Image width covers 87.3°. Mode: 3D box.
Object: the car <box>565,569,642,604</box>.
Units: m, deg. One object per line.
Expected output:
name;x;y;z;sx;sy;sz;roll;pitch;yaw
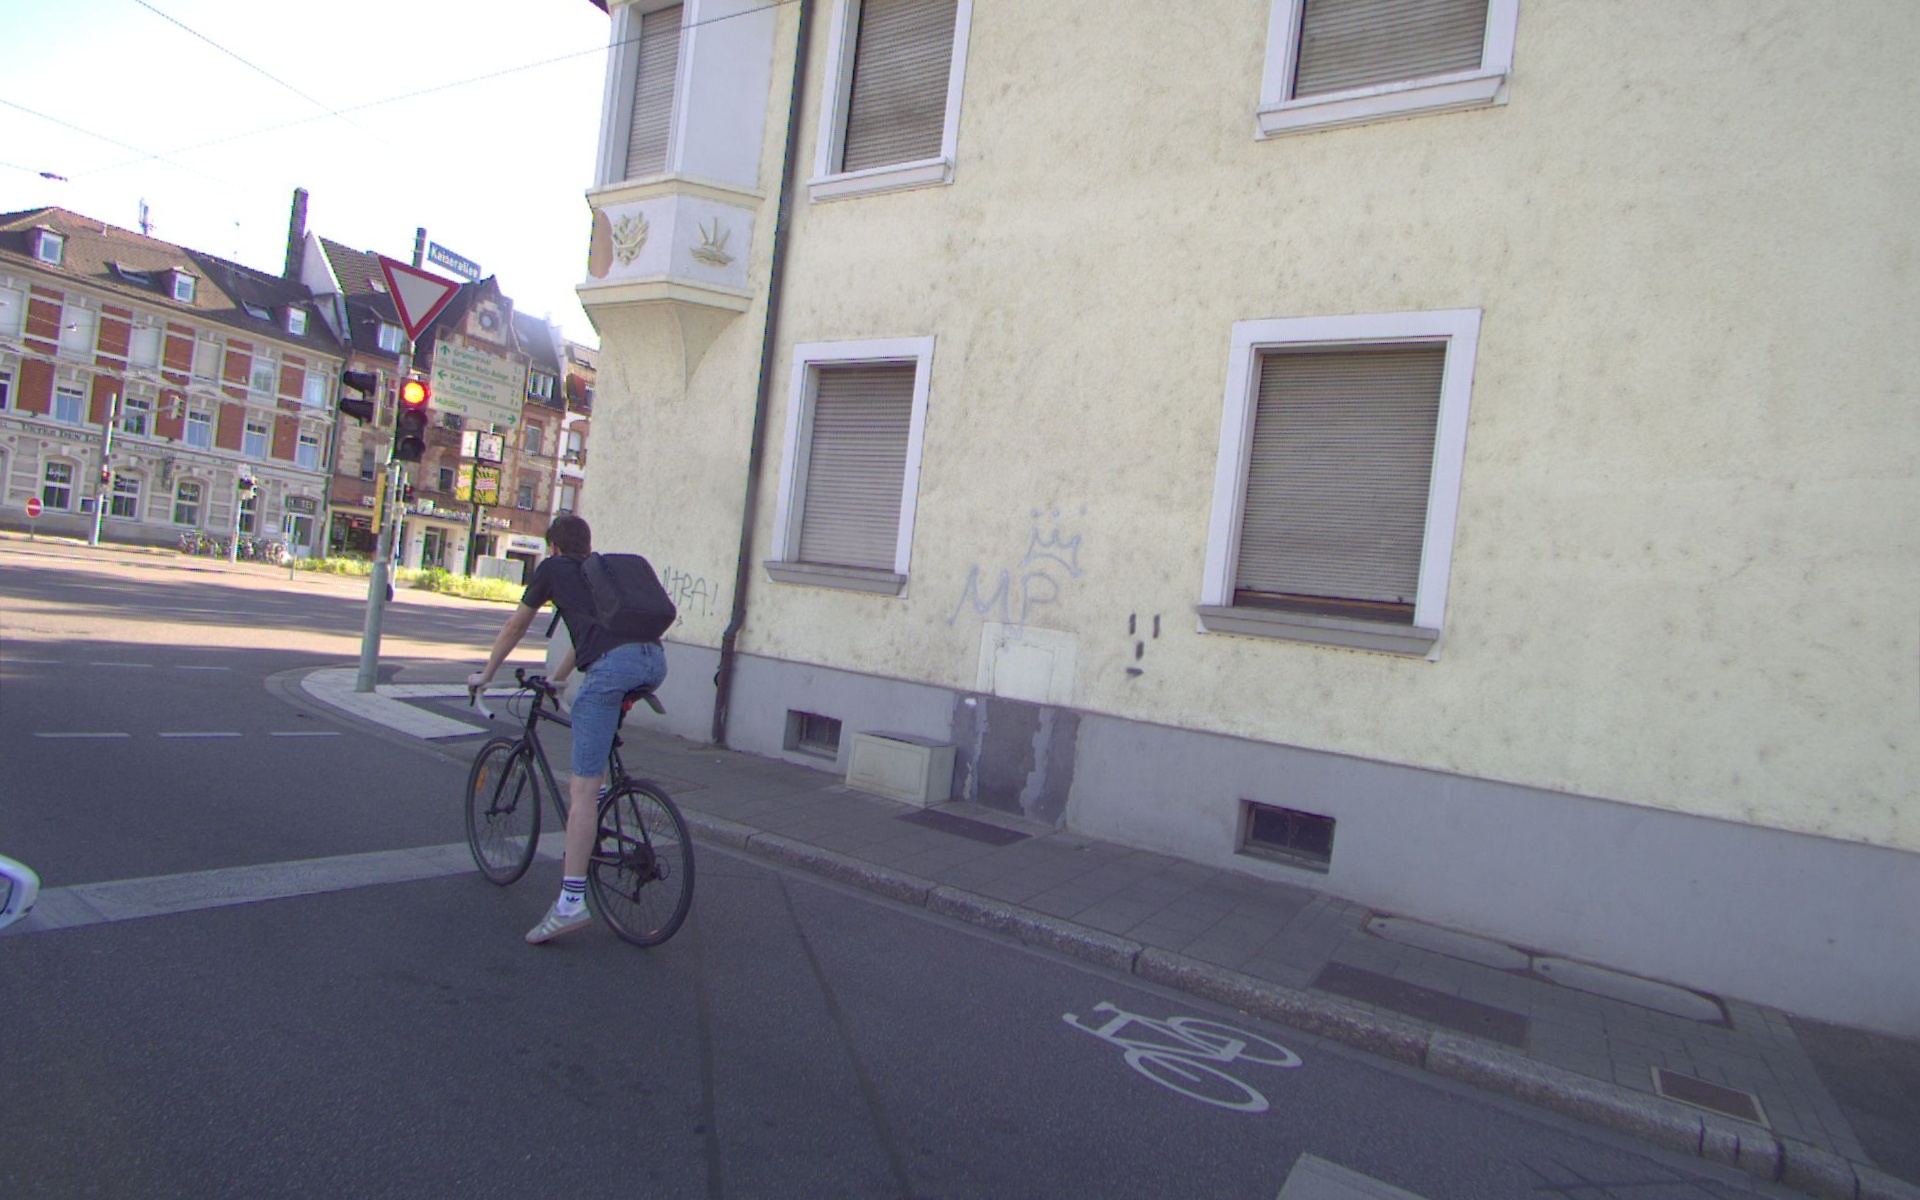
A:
car;-23.115;-0.859;65.304;1.966;1.674;4.378;7;-1;29

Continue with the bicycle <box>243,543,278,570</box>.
bicycle;-33.347;-2.086;47.946;1.614;1.064;0.606;7;0;27

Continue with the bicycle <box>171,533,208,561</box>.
bicycle;-34.938;-2.389;45.608;1.614;1.064;0.606;7;0;27

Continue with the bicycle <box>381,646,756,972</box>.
bicycle;-1.789;0.834;4.487;1.729;1.029;0.532;7;0;32

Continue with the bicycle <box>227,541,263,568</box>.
bicycle;-33.641;-2.149;47.336;1.614;1.064;0.606;7;0;27

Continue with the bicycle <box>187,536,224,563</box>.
bicycle;-34.638;-2.326;46.190;1.614;1.064;0.606;7;0;27

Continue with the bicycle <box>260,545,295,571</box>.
bicycle;-32.973;-2.011;48.584;1.614;1.064;0.606;7;0;27

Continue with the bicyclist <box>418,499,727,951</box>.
bicyclist;-1.733;0.490;4.484;1.066;1.751;0.561;6;-1;32

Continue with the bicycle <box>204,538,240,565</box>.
bicycle;-34.308;-2.260;46.766;1.614;1.064;0.606;7;0;27
